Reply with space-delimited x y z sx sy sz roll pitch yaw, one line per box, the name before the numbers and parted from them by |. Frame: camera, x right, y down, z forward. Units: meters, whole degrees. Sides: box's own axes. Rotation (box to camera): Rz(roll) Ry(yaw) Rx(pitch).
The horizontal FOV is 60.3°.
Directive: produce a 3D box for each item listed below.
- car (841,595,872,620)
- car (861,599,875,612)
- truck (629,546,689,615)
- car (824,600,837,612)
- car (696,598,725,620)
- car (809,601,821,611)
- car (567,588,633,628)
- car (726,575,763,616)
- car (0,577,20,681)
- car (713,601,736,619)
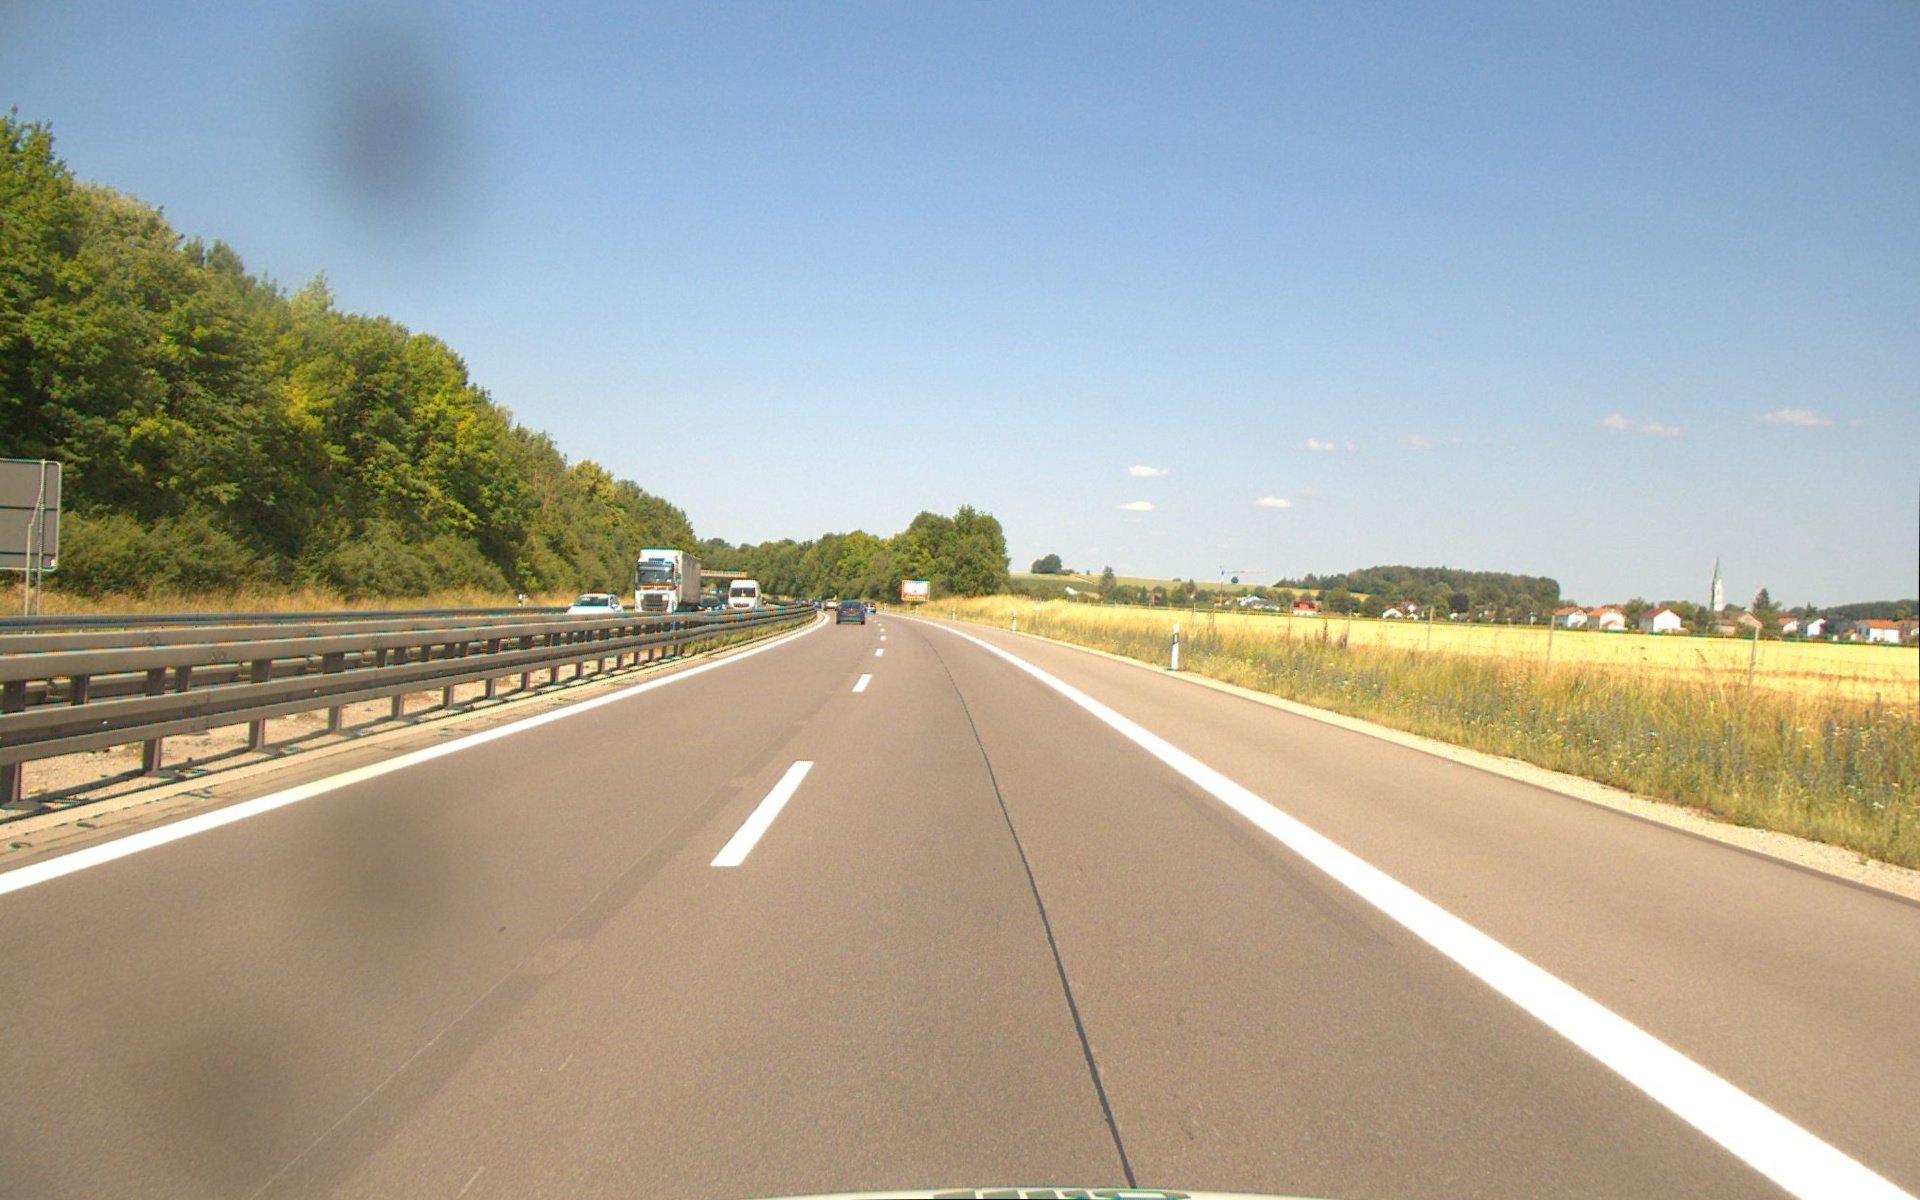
car | -6.545 0.467 105.471 1.810 1.458 5.863 1 1 -2
car | -10.850 0.623 195.100 1.643 1.478 3.589 2 0 -4
truck | -17.934 -1.153 98.947 2.691 3.896 5.908 2 0 -3
car | -17.564 0.807 223.729 1.643 1.478 3.589 2 0 -4
car | -19.478 0.678 129.252 1.722 1.655 3.999 2 0 -2
car | -22.631 0.988 257.957 1.642 1.478 3.591 2 0 -2
car | -14.520 0.314 66.993 1.651 1.509 4.976 2 0 -2
car | -14.446 -0.288 111.283 2.047 2.639 5.809 2 0 -4
car | -14.339 0.390 21.717 1.639 1.463 4.141 2 0 -1
car | -22.749 0.925 160.118 1.722 1.655 3.999 2 0 -2
